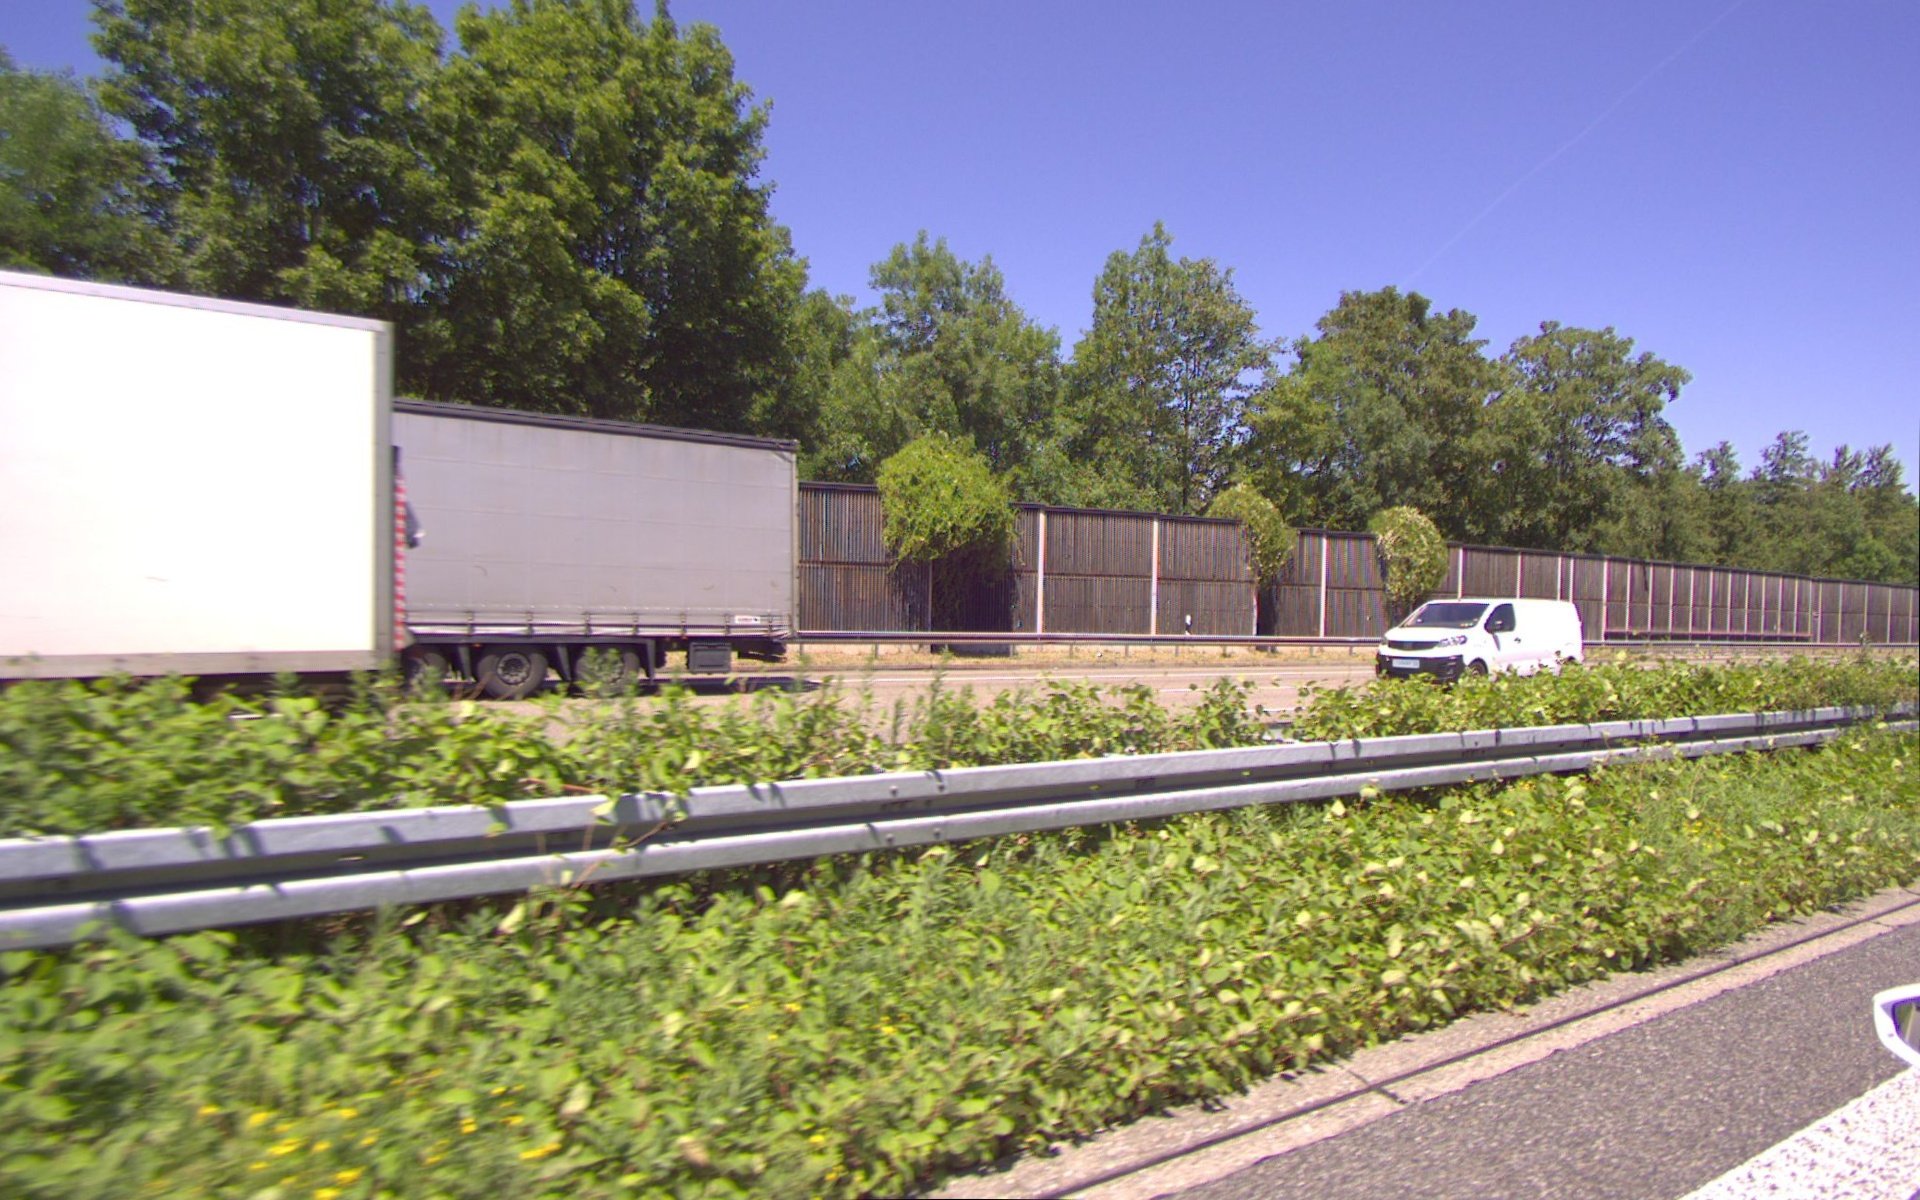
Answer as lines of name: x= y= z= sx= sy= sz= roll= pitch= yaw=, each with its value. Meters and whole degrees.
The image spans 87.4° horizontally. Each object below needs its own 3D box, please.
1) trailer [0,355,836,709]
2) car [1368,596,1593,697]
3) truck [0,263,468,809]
trailer: x=-8.565 y=-0.693 z=14.105 sx=13.602 sy=3.962 sz=2.716 roll=1 pitch=0 yaw=-31
car: x=10.646 y=0.908 z=20.459 sx=4.762 sy=1.844 sz=1.858 roll=2 pitch=-1 yaw=-31
truck: x=-7.646 y=-0.411 z=5.834 sx=8.435 sy=3.156 sz=2.183 roll=1 pitch=0 yaw=-31
